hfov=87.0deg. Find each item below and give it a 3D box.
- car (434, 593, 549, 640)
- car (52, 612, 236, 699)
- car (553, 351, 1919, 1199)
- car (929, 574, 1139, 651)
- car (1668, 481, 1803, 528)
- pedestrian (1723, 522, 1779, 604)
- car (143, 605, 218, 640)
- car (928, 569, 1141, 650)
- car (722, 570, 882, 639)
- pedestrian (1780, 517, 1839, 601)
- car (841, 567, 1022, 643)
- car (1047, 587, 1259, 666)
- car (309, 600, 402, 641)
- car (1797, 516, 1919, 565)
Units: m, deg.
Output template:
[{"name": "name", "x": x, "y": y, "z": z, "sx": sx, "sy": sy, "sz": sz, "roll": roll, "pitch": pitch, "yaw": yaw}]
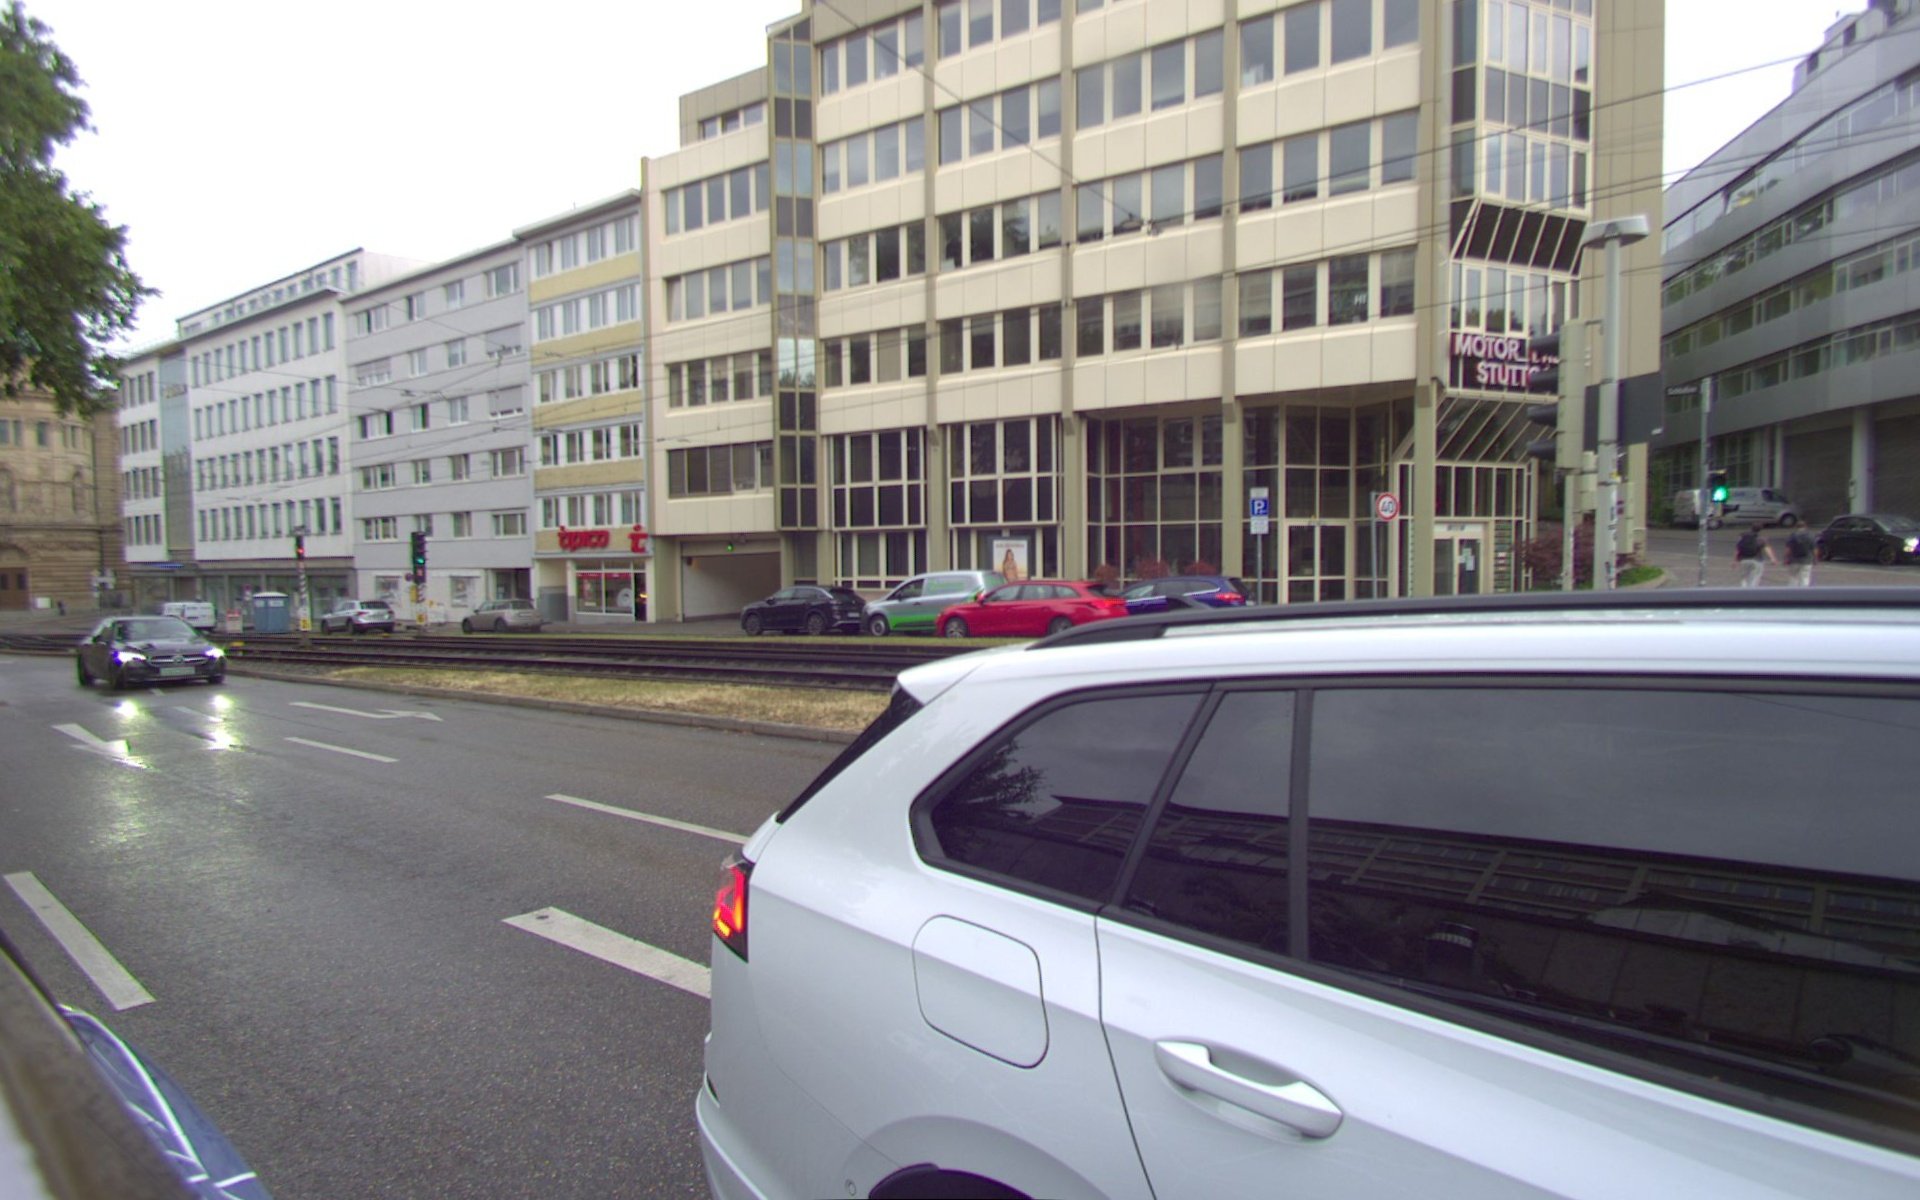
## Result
[{"name": "car", "x": -18.928, "y": 0.637, "z": 40.837, "sx": 4.682, "sy": 1.686, "sz": 1.978, "roll": 0, "pitch": 4, "yaw": 34}, {"name": "car", "x": -16.873, "y": 1.084, "z": 20.850, "sx": 4.638, "sy": 1.478, "sz": 1.974, "roll": -2, "pitch": 2, "yaw": 39}, {"name": "car", "x": 1.340, "y": 0.591, "z": 1.273, "sx": 4.251, "sy": 1.588, "sz": 1.662, "roll": -1, "pitch": 1, "yaw": 41}, {"name": "car", "x": 1.634, "y": 0.239, "z": 22.888, "sx": 4.315, "sy": 1.498, "sz": 1.978, "roll": 0, "pitch": 4, "yaw": 33}, {"name": "car", "x": 37.366, "y": -4.583, "z": 48.903, "sx": 4.779, "sy": 2.028, "sz": 1.996, "roll": -2, "pitch": 3, "yaw": 8}, {"name": "pedestrian", "x": 17.766, "y": -0.829, "z": 22.749, "sx": 0.804, "sy": 1.800, "sz": 0.637, "roll": -1, "pitch": 3, "yaw": 18}, {"name": "car", "x": -46.817, "y": 1.311, "z": 60.752, "sx": 5.117, "sy": 1.856, "sz": 1.978, "roll": 0, "pitch": 4, "yaw": 34}, {"name": "car", "x": 1.669, "y": 0.180, "z": 22.932, "sx": 4.399, "sy": 1.652, "sz": 1.967, "roll": 0, "pitch": 2, "yaw": 30}, {"name": "car", "x": -4.861, "y": 0.109, "z": 30.920, "sx": 4.682, "sy": 1.863, "sz": 1.978, "roll": 0, "pitch": 4, "yaw": 34}, {"name": "pedestrian", "x": 18.779, "y": -0.906, "z": 22.394, "sx": 0.804, "sy": 1.800, "sz": 0.637, "roll": -1, "pitch": 3, "yaw": 18}, {"name": "car", "x": -0.831, "y": 0.109, "z": 28.005, "sx": 4.682, "sy": 1.863, "sz": 1.978, "roll": 0, "pitch": 4, "yaw": 34}, {"name": "car", "x": 4.547, "y": 0.567, "z": 24.070, "sx": 4.536, "sy": 1.593, "sz": 1.978, "roll": 0, "pitch": 4, "yaw": 34}, {"name": "car", "x": -28.340, "y": 0.977, "z": 47.439, "sx": 4.686, "sy": 1.686, "sz": 1.976, "roll": -2, "pitch": 3, "yaw": 36}, {"name": "car", "x": 27.687, "y": -1.798, "z": 30.261, "sx": 1.803, "sy": 1.374, "sz": 4.004, "roll": -2, "pitch": 3, "yaw": -3}]
